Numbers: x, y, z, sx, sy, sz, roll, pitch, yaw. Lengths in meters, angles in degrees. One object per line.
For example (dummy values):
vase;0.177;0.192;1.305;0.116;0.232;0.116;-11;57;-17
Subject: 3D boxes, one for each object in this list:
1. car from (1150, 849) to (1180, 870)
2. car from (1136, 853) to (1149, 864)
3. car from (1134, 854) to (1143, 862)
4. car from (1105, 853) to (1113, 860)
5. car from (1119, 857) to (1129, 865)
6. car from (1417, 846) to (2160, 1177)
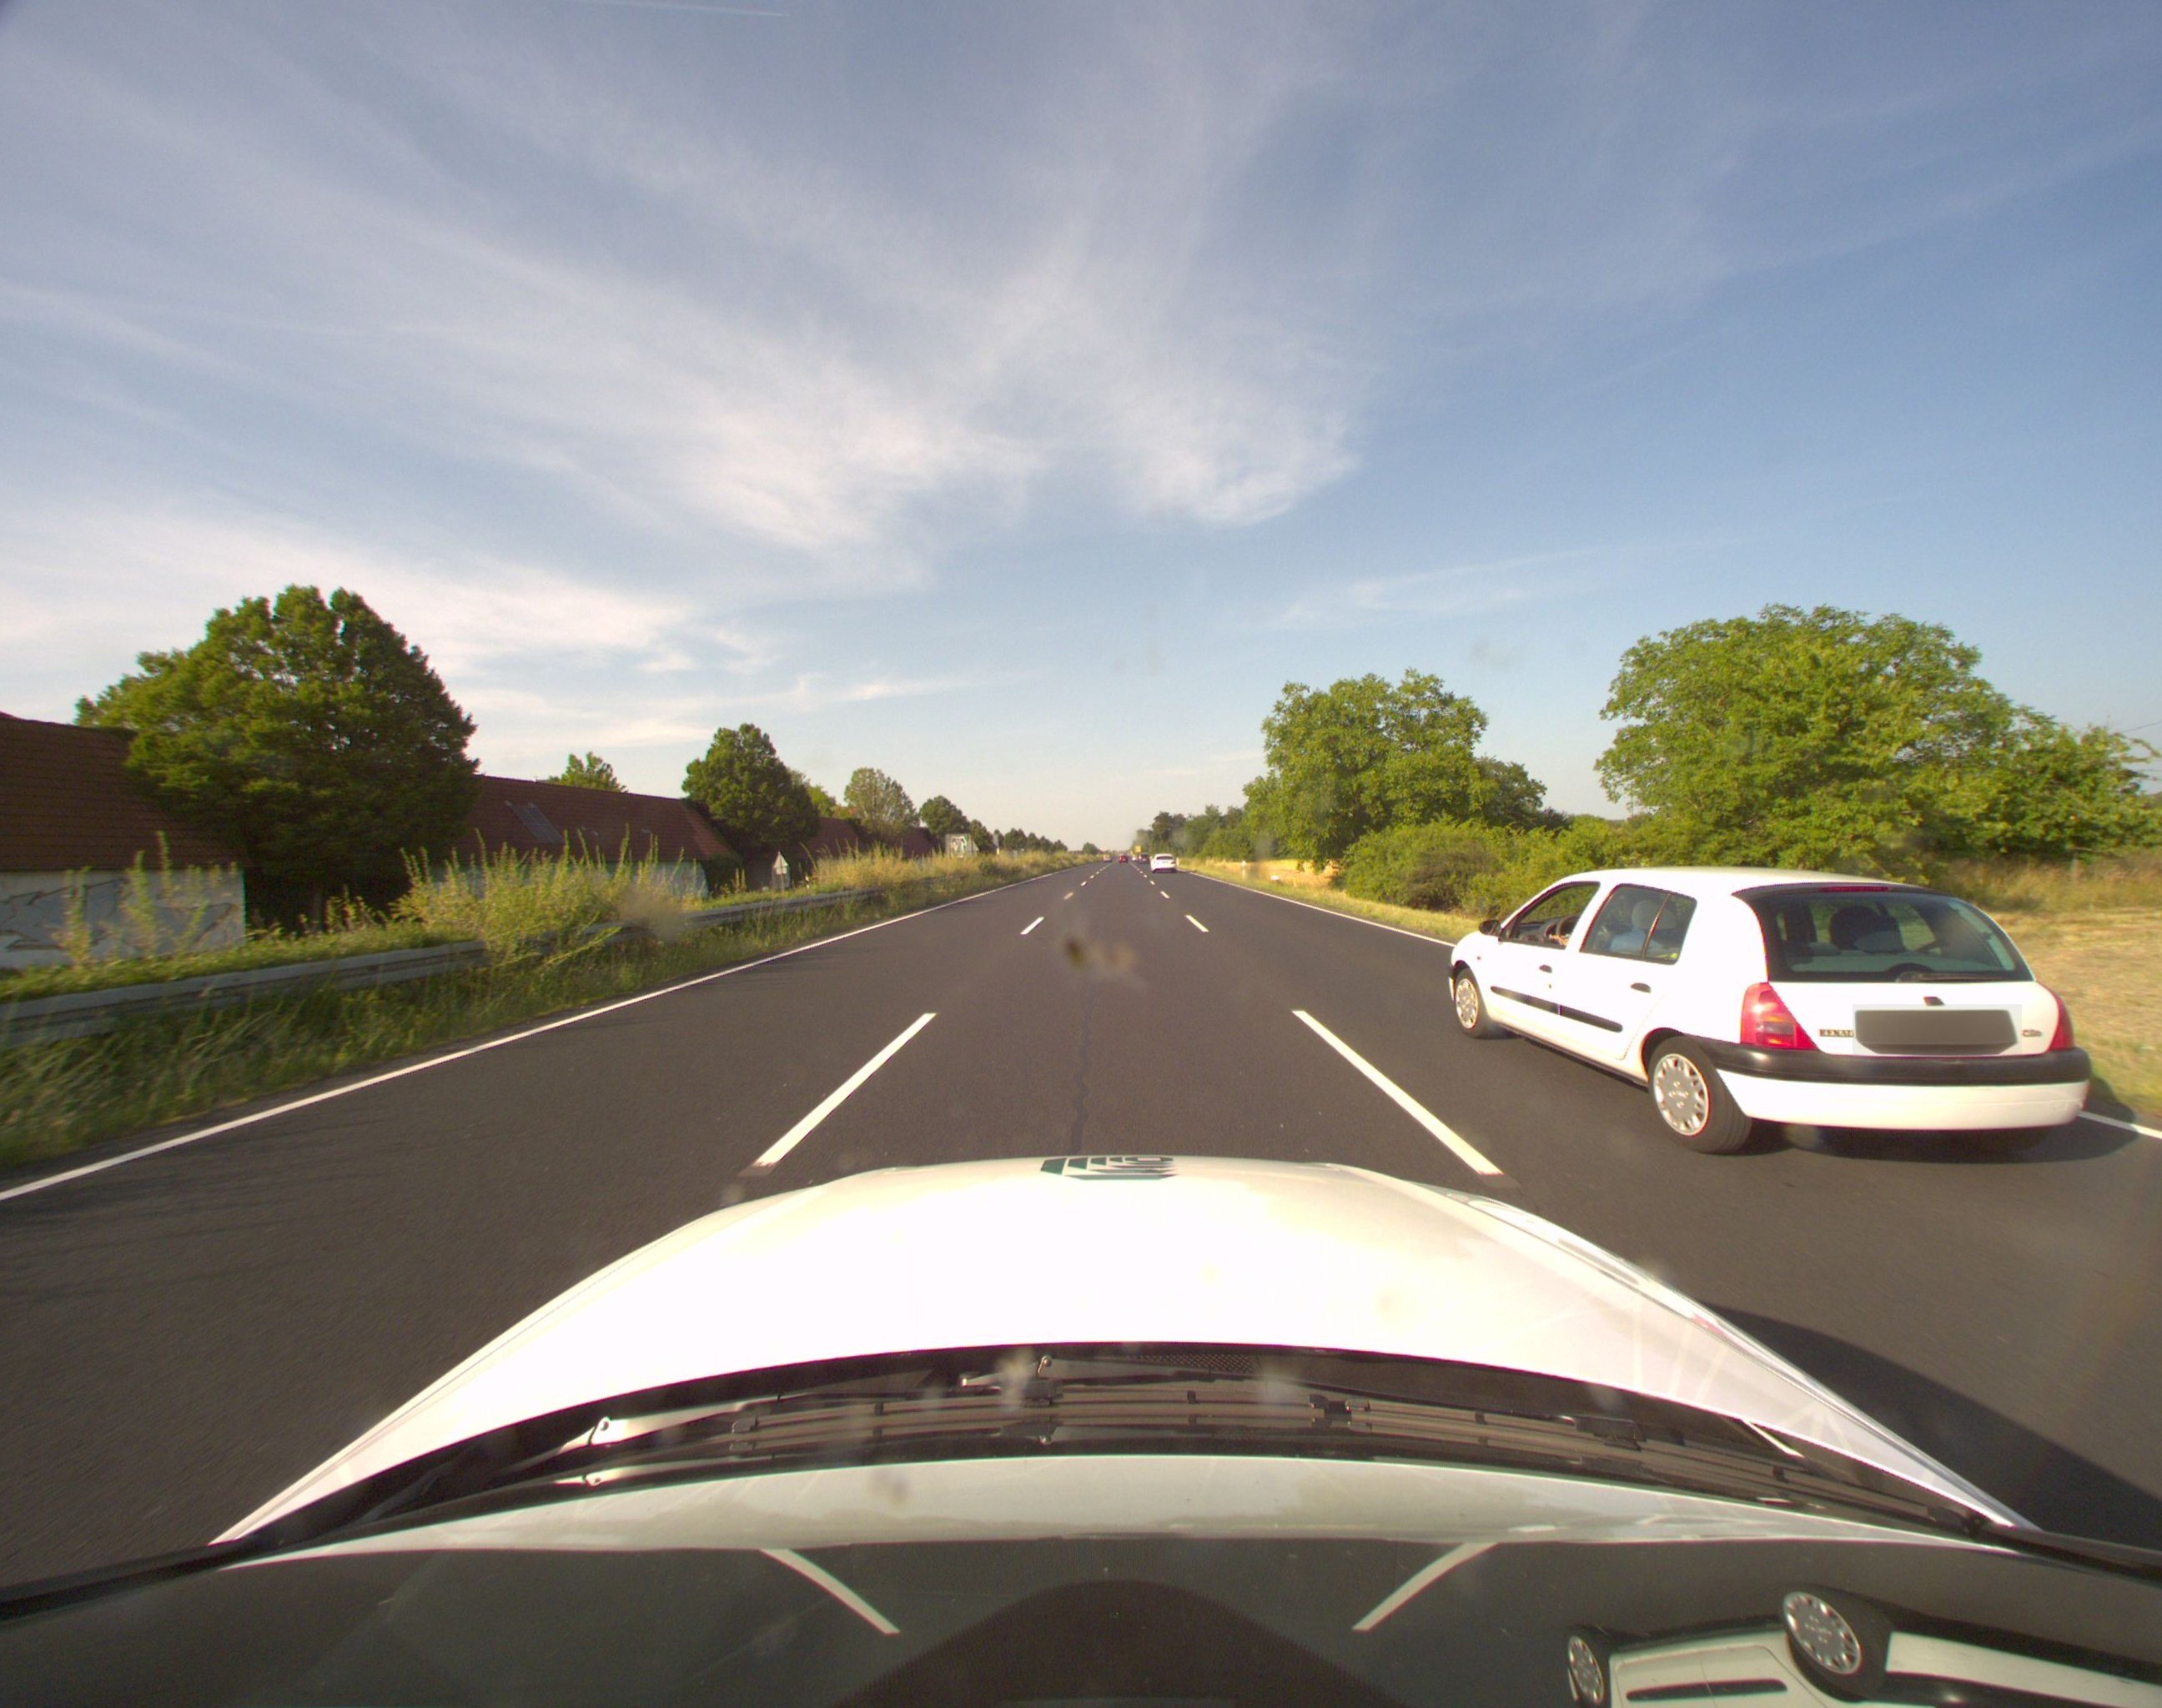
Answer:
car;6.383;0.446;62.227;1.985;1.516;4.003;-1;-1;3
car;9.602;0.686;127.060;1.820;1.728;4.002;-1;-1;2
car;11.700;0.856;166.083;1.826;1.717;3.865;-1;-1;3
car;6.521;0.566;190.582;1.750;1.618;4.005;-1;-1;5
car;8.176;1.317;154.503;1.805;1.436;3.860;-1;-1;2
car;3.800;0.693;5.427;1.611;1.387;3.953;-1;-1;2
